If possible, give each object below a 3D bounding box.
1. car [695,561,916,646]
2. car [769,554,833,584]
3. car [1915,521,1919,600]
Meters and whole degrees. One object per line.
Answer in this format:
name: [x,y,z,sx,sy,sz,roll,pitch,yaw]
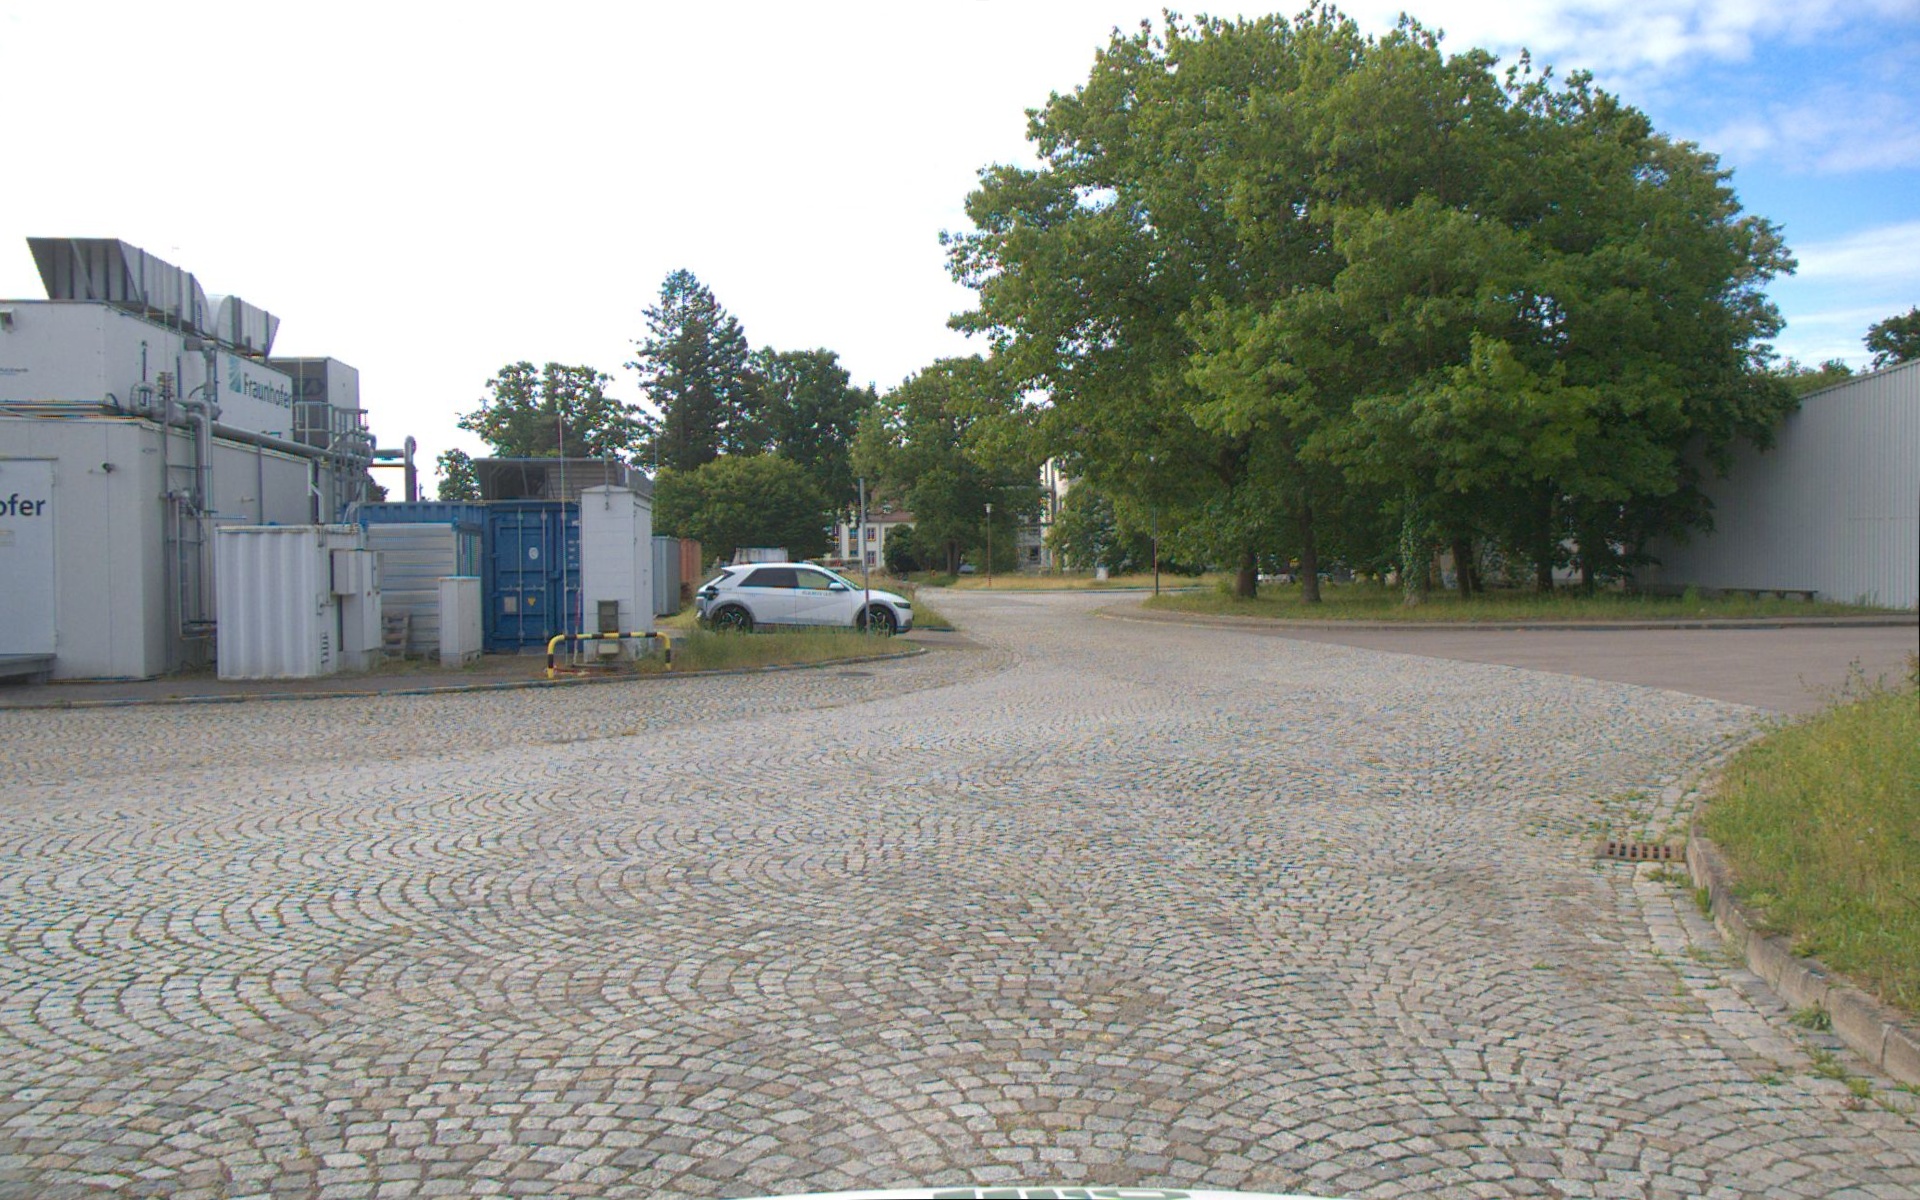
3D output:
car: [-3.182,0.048,34.576,4.444,1.627,1.999,-1,1,-4]
car: [-13.030,-2.526,135.553,5.071,2.378,1.998,-1,1,-6]
car: [26.249,-1.018,40.514,2.198,2.048,5.329,-1,1,-7]
